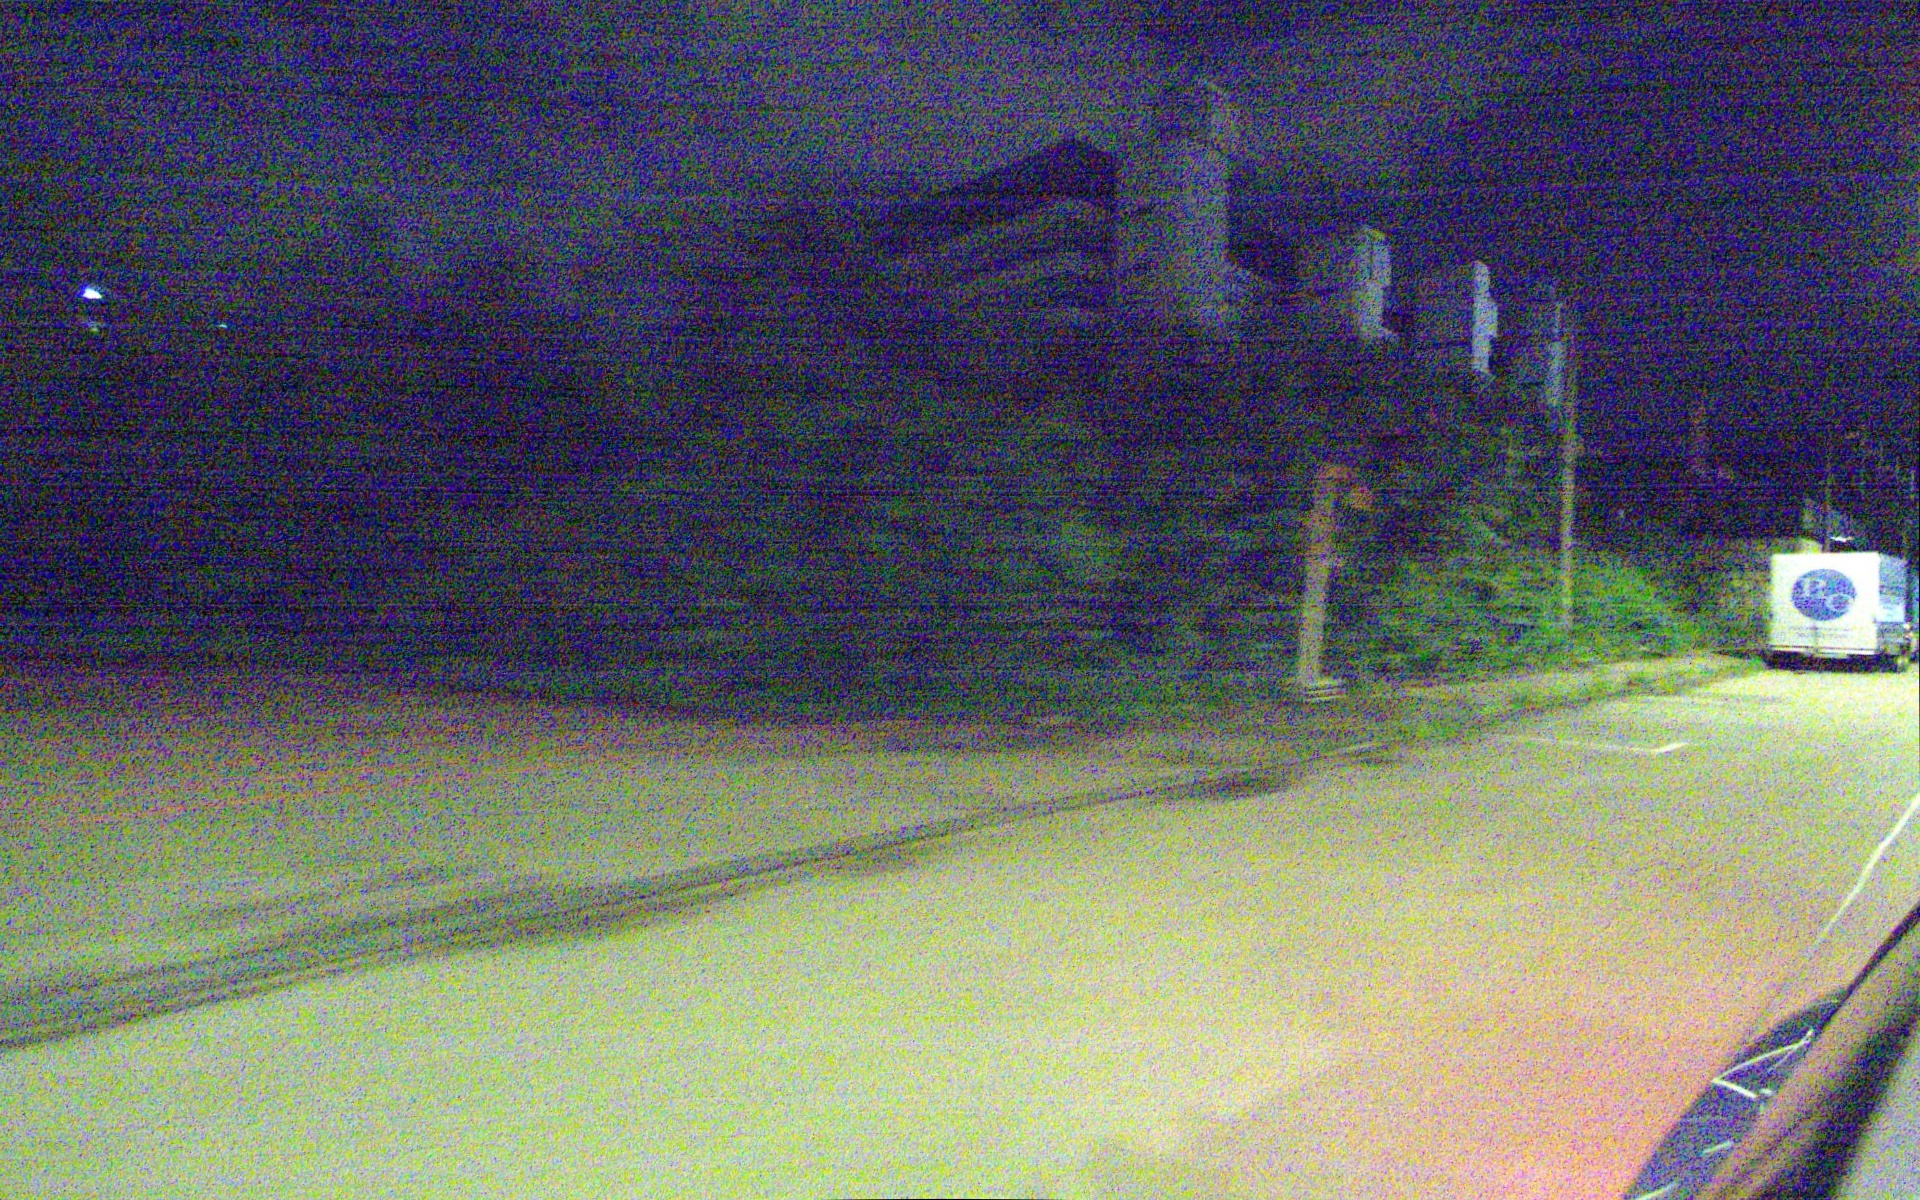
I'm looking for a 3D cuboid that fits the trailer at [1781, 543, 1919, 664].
[{"bbox_3d":[21.530,0.079,24.359,3.928,2.684,1.998,1,0,-39],"label":"trailer"}]

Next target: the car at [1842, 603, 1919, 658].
[{"bbox_3d":[26.403,0.813,28.674,4.598,1.404,1.728,0,0,-44],"label":"car"}]
